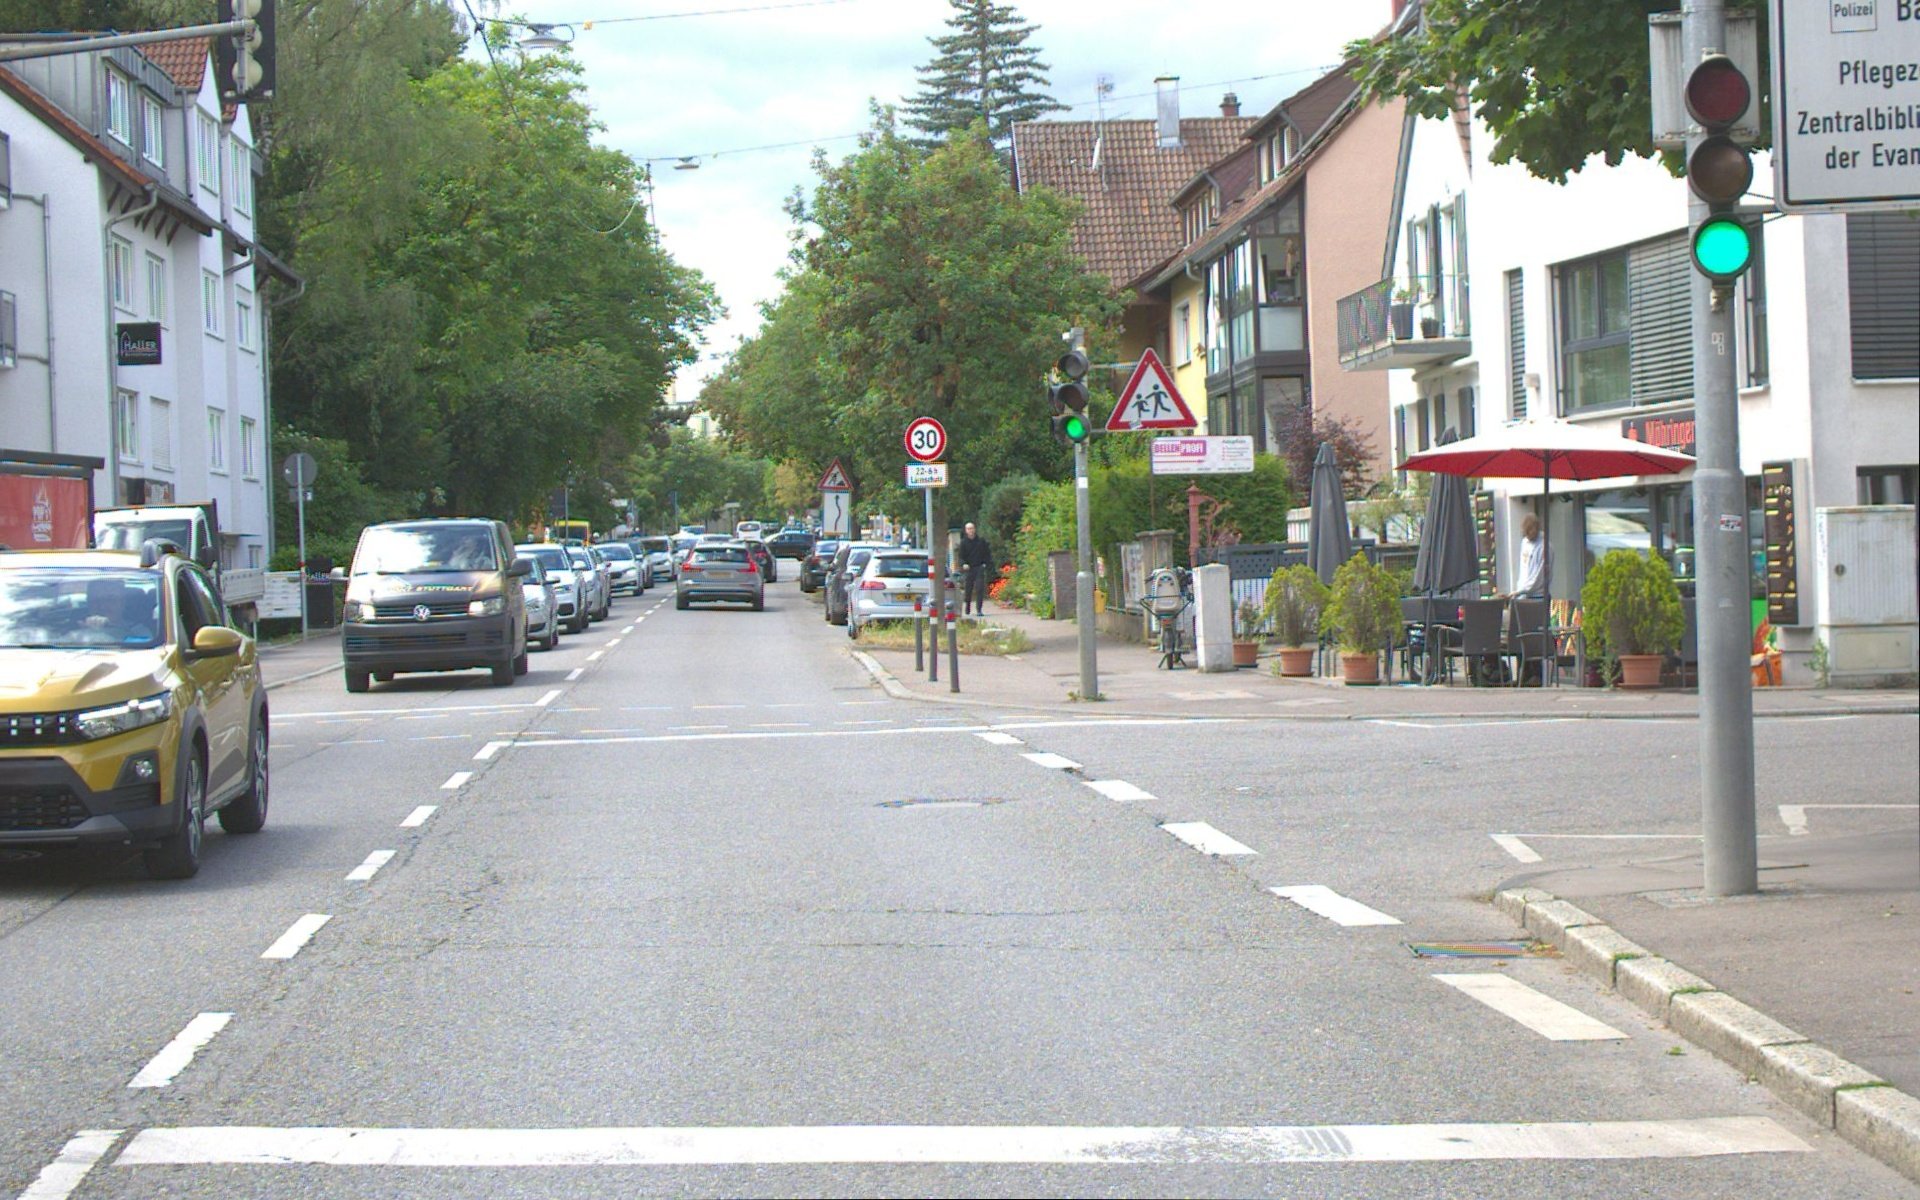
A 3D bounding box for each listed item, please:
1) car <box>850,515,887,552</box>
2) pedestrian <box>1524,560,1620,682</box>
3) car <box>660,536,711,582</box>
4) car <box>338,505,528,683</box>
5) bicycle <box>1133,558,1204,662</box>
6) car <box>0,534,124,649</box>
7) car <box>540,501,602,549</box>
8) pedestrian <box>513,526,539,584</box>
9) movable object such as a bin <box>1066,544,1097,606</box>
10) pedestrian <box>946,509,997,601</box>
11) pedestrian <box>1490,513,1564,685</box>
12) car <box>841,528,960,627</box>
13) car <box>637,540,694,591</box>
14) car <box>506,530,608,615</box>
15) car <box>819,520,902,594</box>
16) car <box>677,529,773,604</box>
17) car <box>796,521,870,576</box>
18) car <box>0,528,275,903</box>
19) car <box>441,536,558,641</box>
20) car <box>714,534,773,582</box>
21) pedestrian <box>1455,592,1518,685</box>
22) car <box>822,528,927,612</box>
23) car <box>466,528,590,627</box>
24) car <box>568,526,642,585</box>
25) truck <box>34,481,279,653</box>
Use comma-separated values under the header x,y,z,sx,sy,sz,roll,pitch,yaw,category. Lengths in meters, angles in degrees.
x,y,z,sx,sy,sz,roll,pitch,yaw,category
-5.166,-3.762,193.816,1.993,2.007,4.000,-1,1,-2,car
5.568,0.185,31.271,0.566,1.085,0.634,-2,1,-29,pedestrian
-10.541,-1.580,132.099,1.785,1.586,4.154,-3,2,-3,car
-6.044,-0.118,39.884,1.876,1.906,4.753,-1,1,-5,car
2.412,0.099,39.931,0.720,1.146,2.213,-1,1,2,bicycle
-12.772,-0.102,44.258,3.692,1.420,1.805,-1,1,-7,car
-16.702,-3.204,147.908,2.146,1.974,4.931,-1,1,-1,car
-13.486,-1.395,106.786,0.714,1.756,1.122,-1,1,-9,pedestrian
2.151,-0.444,60.710,0.523,1.077,0.604,-1,1,2,movable object such as a bin
0.211,-0.840,64.675,0.880,1.706,0.842,-1,1,-2,pedestrian
5.876,-0.016,35.640,0.427,1.756,0.676,-2,1,-24,pedestrian
-1.001,-0.400,55.159,1.700,1.475,4.873,0,2,-3,car
-10.410,-1.234,121.635,1.786,1.642,4.491,-4,2,-3,car
-7.949,-0.572,68.078,1.728,1.497,4.377,-4,2,-4,car
-2.192,-0.956,74.987,1.621,1.502,3.780,-2,2,-4,car
-5.070,-0.747,74.641,1.976,1.508,4.268,2,1,-3,car
-3.498,-1.425,93.739,1.801,1.440,4.888,0,1,-5,car
-4.415,0.457,16.512,1.728,1.532,4.001,-1,2,-5,car
-6.963,-0.203,52.276,1.617,1.481,3.814,-1,1,-6,car
-6.983,-1.377,111.339,1.816,1.495,4.267,0,2,-2,car
5.439,0.394,35.513,0.418,0.935,0.498,-2,1,-24,pedestrian
-1.622,-0.582,63.697,1.734,1.424,4.883,1,2,-4,car
-7.525,-0.428,60.150,1.806,1.565,4.160,-3,1,-4,car
-9.582,-1.219,93.050,1.759,1.434,3.971,-3,2,-4,car
-11.951,-0.507,51.619,2.224,2.371,6.326,-1,1,-1,truck
